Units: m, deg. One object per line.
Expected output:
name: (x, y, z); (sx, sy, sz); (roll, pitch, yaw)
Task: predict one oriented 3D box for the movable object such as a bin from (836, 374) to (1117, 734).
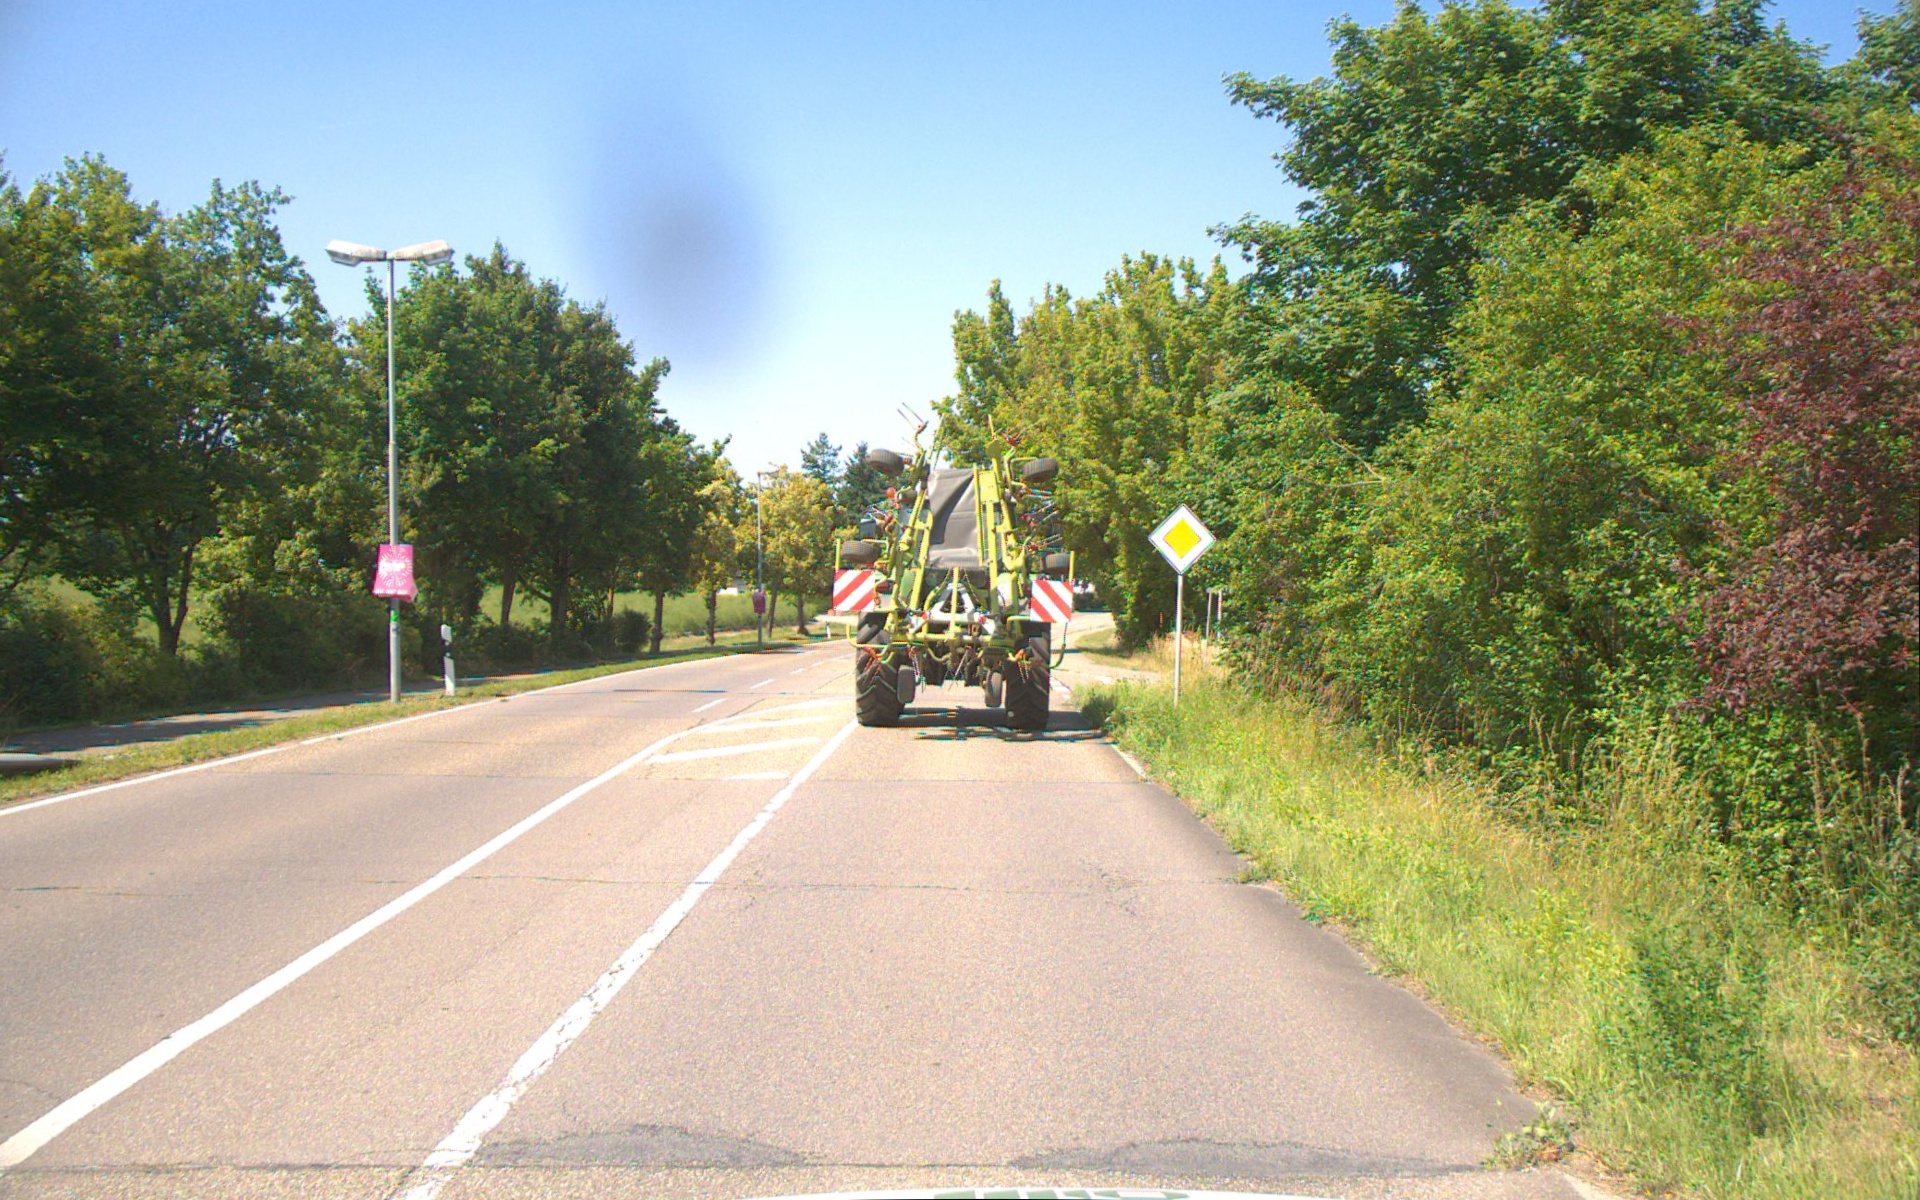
movable object such as a bin: (0.042, -0.506, 21.689); (2.795, 3.603, 9.698); (1, 0, -2)
